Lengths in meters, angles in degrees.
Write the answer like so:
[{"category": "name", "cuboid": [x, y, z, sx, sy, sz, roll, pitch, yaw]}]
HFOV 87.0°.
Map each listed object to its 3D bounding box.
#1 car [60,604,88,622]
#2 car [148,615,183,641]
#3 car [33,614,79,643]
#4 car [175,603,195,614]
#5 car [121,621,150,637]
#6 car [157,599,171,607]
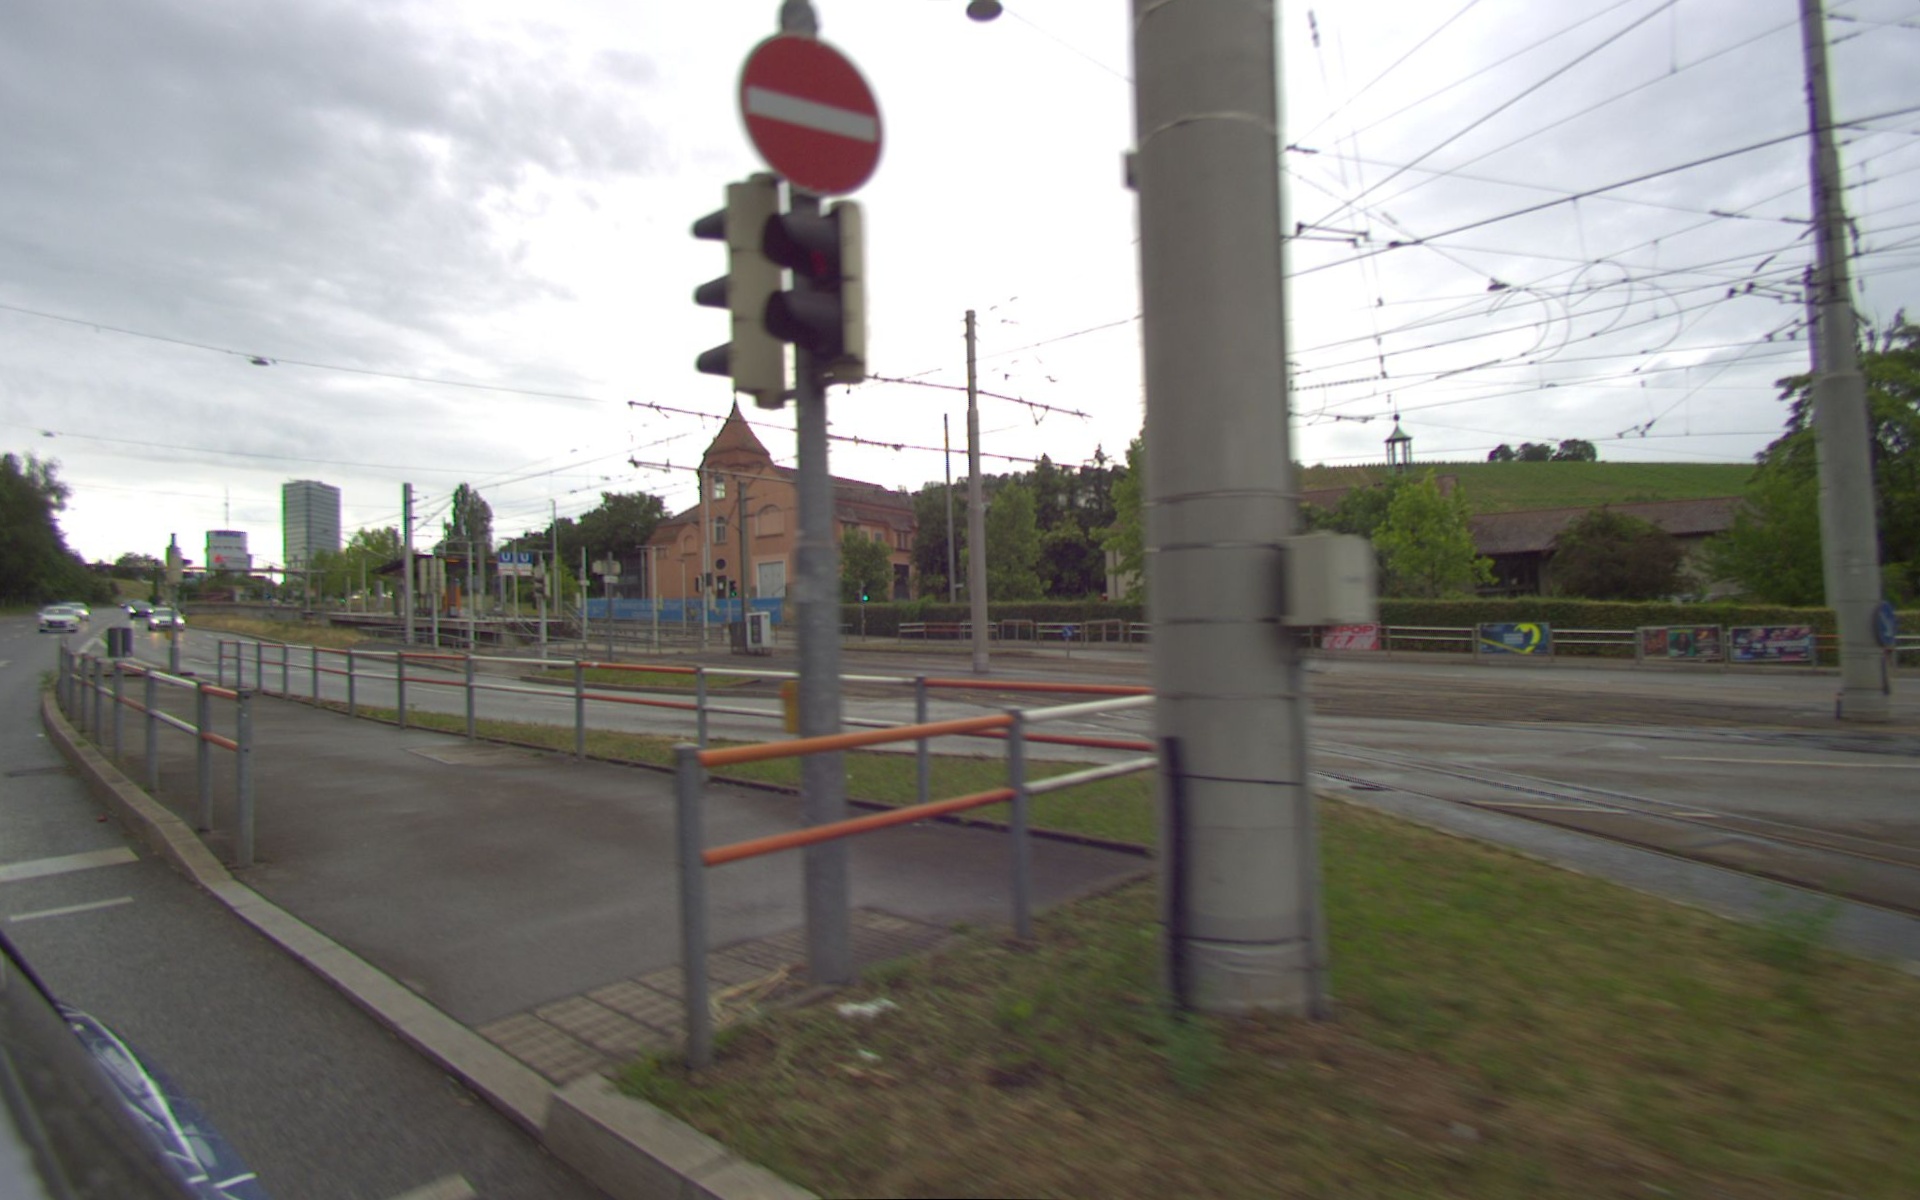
[{"category": "car", "cuboid": [-76.882, 1.139, 87.777, 1.775, 1.482, 4.005, 1, -2, -42]}, {"category": "car", "cuboid": [-51.334, 1.801, 65.413, 1.712, 1.600, 4.008, 1, -1, -38]}, {"category": "car", "cuboid": [-52.319, 1.644, 58.623, 1.712, 1.600, 4.008, 1, -1, -38]}, {"category": "car", "cuboid": [-104.058, 1.182, 135.845, 1.775, 1.482, 4.005, 1, -2, -42]}, {"category": "car", "cuboid": [-78.570, 2.711, 96.436, 1.776, 1.482, 4.003, 1, -1, -44]}, {"category": "car", "cuboid": [-141.517, 0.542, 179.905, 1.773, 1.482, 4.009, 1, -1, -37]}]
